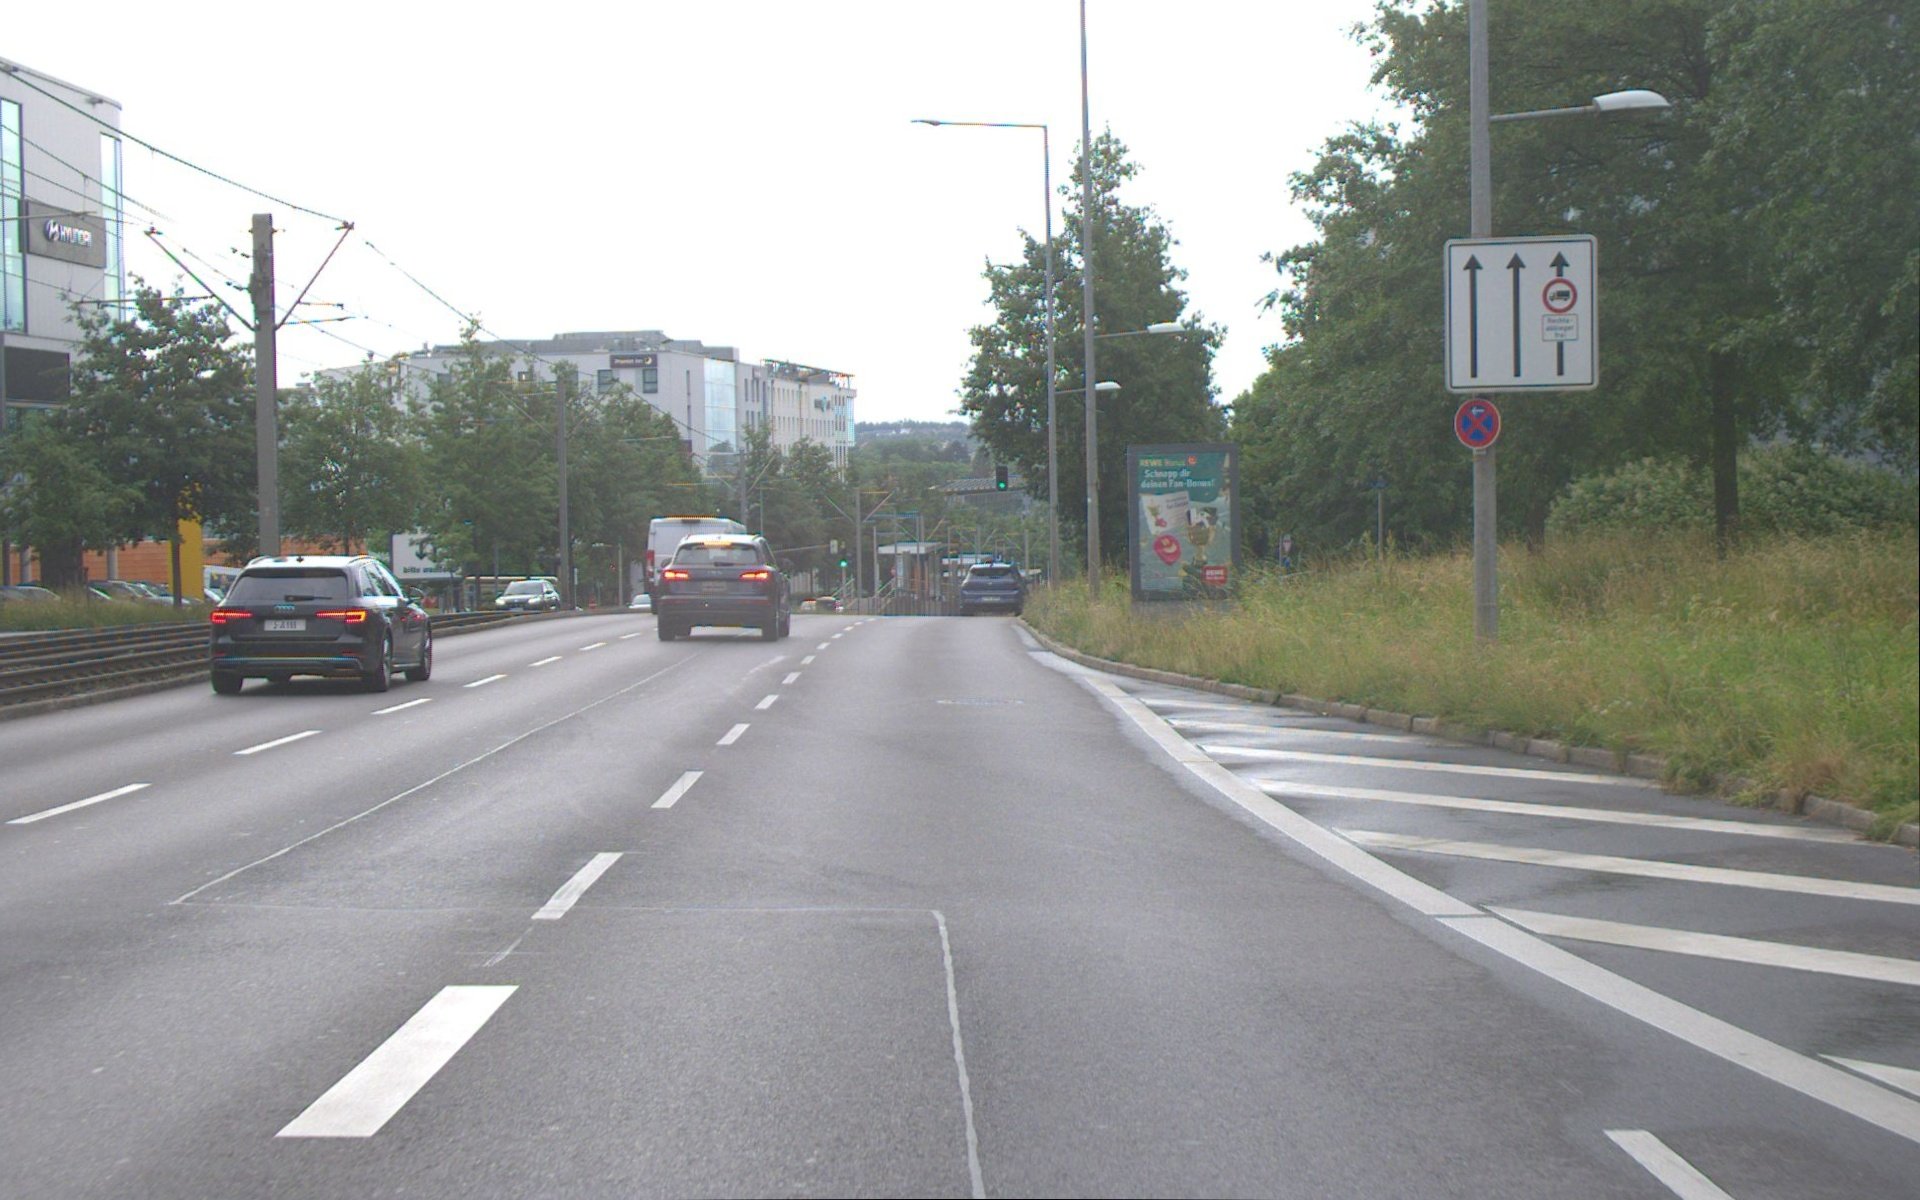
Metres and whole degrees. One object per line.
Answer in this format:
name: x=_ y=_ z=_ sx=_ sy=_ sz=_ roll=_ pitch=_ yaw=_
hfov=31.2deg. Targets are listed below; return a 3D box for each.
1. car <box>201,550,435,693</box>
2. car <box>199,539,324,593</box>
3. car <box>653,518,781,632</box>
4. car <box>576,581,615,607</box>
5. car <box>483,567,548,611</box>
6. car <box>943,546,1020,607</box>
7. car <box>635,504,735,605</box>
car: x=-6.792 y=0.180 z=36.806 sx=1.785 sy=1.409 sz=4.806 roll=0 pitch=1 yaw=-2
car: x=-30.790 y=-1.492 z=151.590 sx=5.302 sy=2.305 sz=2.020 roll=1 pitch=-1 yaw=-9
car: x=-3.828 y=-0.420 z=54.247 sx=1.922 sy=1.705 sz=4.099 roll=1 pitch=1 yaw=-4
car: x=-21.136 y=-0.335 z=199.393 sx=1.667 sy=1.457 sz=4.238 roll=0 pitch=-1 yaw=2
car: x=-16.365 y=-0.394 z=126.765 sx=1.658 sy=1.544 sz=3.999 roll=0 pitch=-1 yaw=3
car: x=0.565 y=-0.643 z=94.559 sx=1.789 sy=1.585 sz=4.001 roll=-1 pitch=0 yaw=-4
car: x=-6.461 y=-1.084 z=81.134 sx=2.267 sy=2.277 sz=4.760 roll=1 pitch=1 yaw=-4
